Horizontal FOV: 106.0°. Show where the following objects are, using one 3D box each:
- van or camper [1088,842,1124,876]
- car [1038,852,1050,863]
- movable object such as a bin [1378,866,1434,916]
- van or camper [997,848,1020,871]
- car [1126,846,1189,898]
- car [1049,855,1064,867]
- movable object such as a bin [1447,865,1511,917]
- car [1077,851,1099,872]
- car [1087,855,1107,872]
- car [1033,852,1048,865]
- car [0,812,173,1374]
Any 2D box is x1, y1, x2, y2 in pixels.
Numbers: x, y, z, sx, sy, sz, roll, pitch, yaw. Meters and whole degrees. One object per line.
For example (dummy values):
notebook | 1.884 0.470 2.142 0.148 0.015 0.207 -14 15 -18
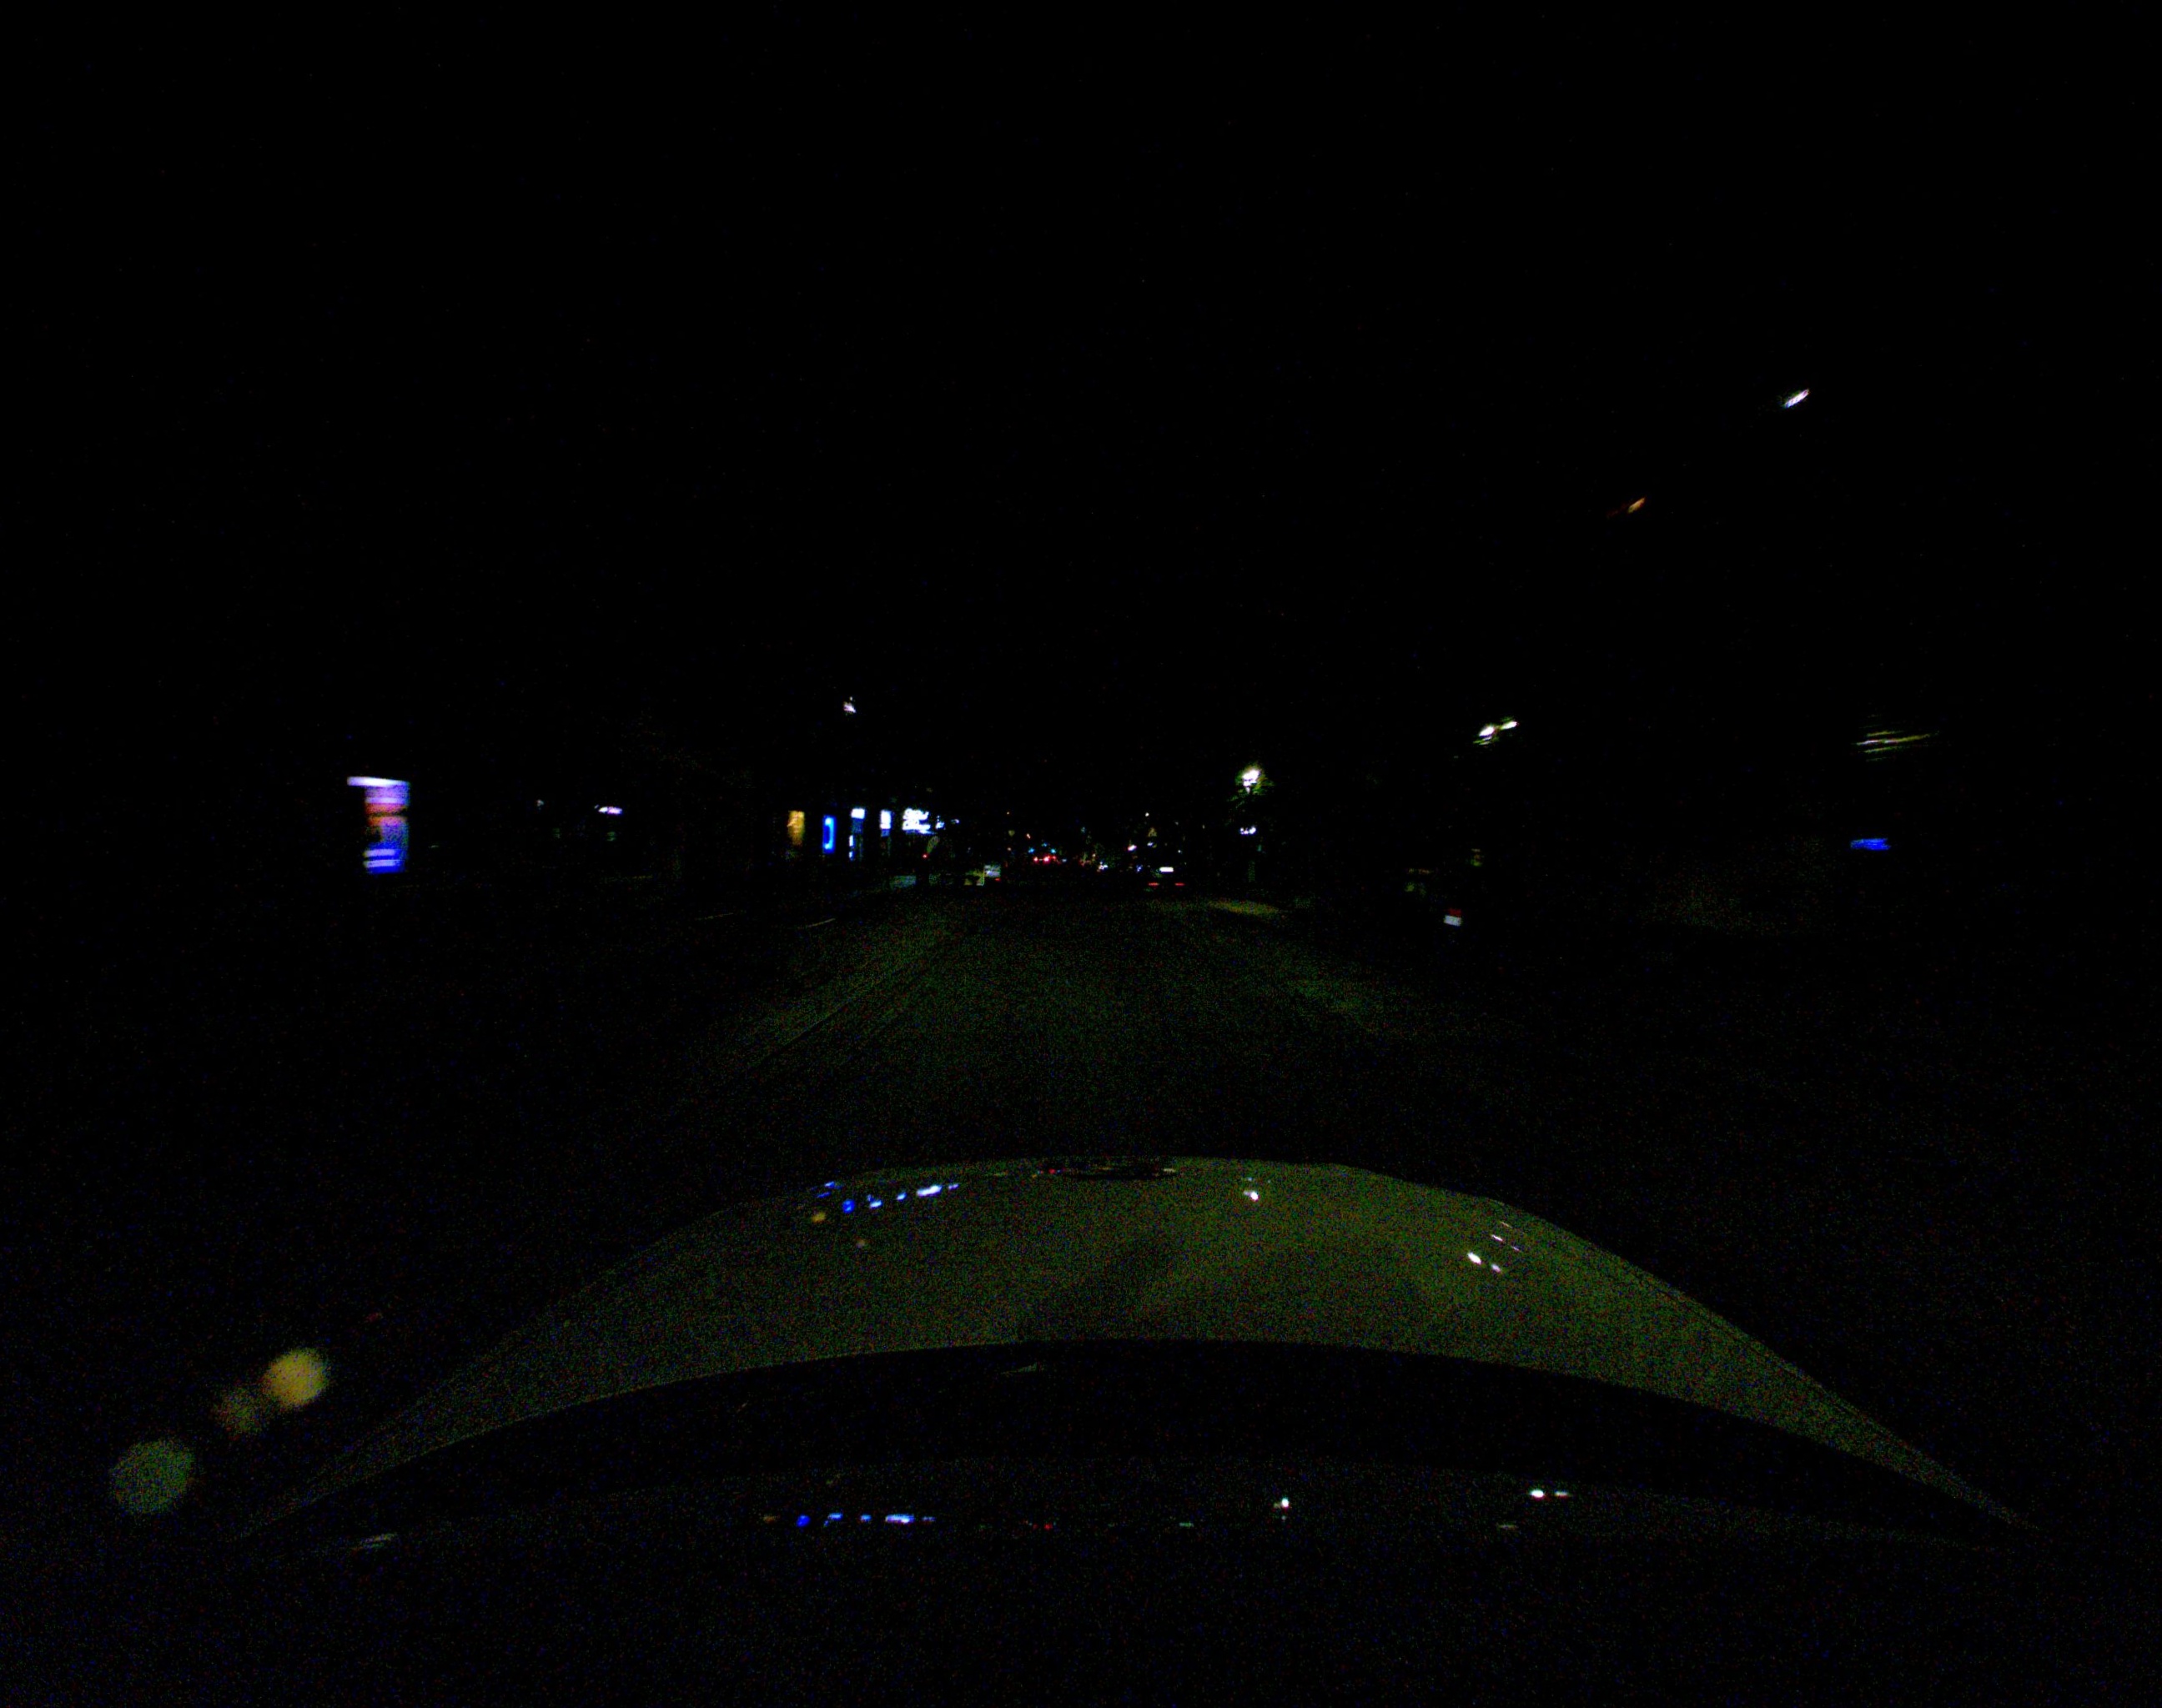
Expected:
van or camper | 1.728 0.336 57.255 2.104 2.317 4.256 0 0 -4
car | -6.457 0.547 141.994 1.989 1.823 3.995 1 0 -4
movable object such as a bin | 9.143 1.028 22.927 1.102 1.307 1.009 2 -1 -4
van or camper | -6.468 0.508 72.742 1.933 1.989 3.837 1 0 -6
car | 2.864 0.645 31.277 1.811 1.828 4.342 1 0 -3
car | -3.079 0.889 103.475 1.835 1.542 3.842 1 0 -2
movable object such as a bin | 11.264 1.028 23.091 1.257 1.419 1.117 0 -1 -2
car | 0.637 0.658 75.814 1.835 1.901 3.842 1 0 -2
car | 1.355 0.816 70.190 1.527 1.418 3.842 1 0 -2
car | -6.014 0.632 121.263 1.991 1.823 3.992 1 0 -6
car | -3.685 0.626 0.457 1.670 1.543 4.225 2 0 -3
